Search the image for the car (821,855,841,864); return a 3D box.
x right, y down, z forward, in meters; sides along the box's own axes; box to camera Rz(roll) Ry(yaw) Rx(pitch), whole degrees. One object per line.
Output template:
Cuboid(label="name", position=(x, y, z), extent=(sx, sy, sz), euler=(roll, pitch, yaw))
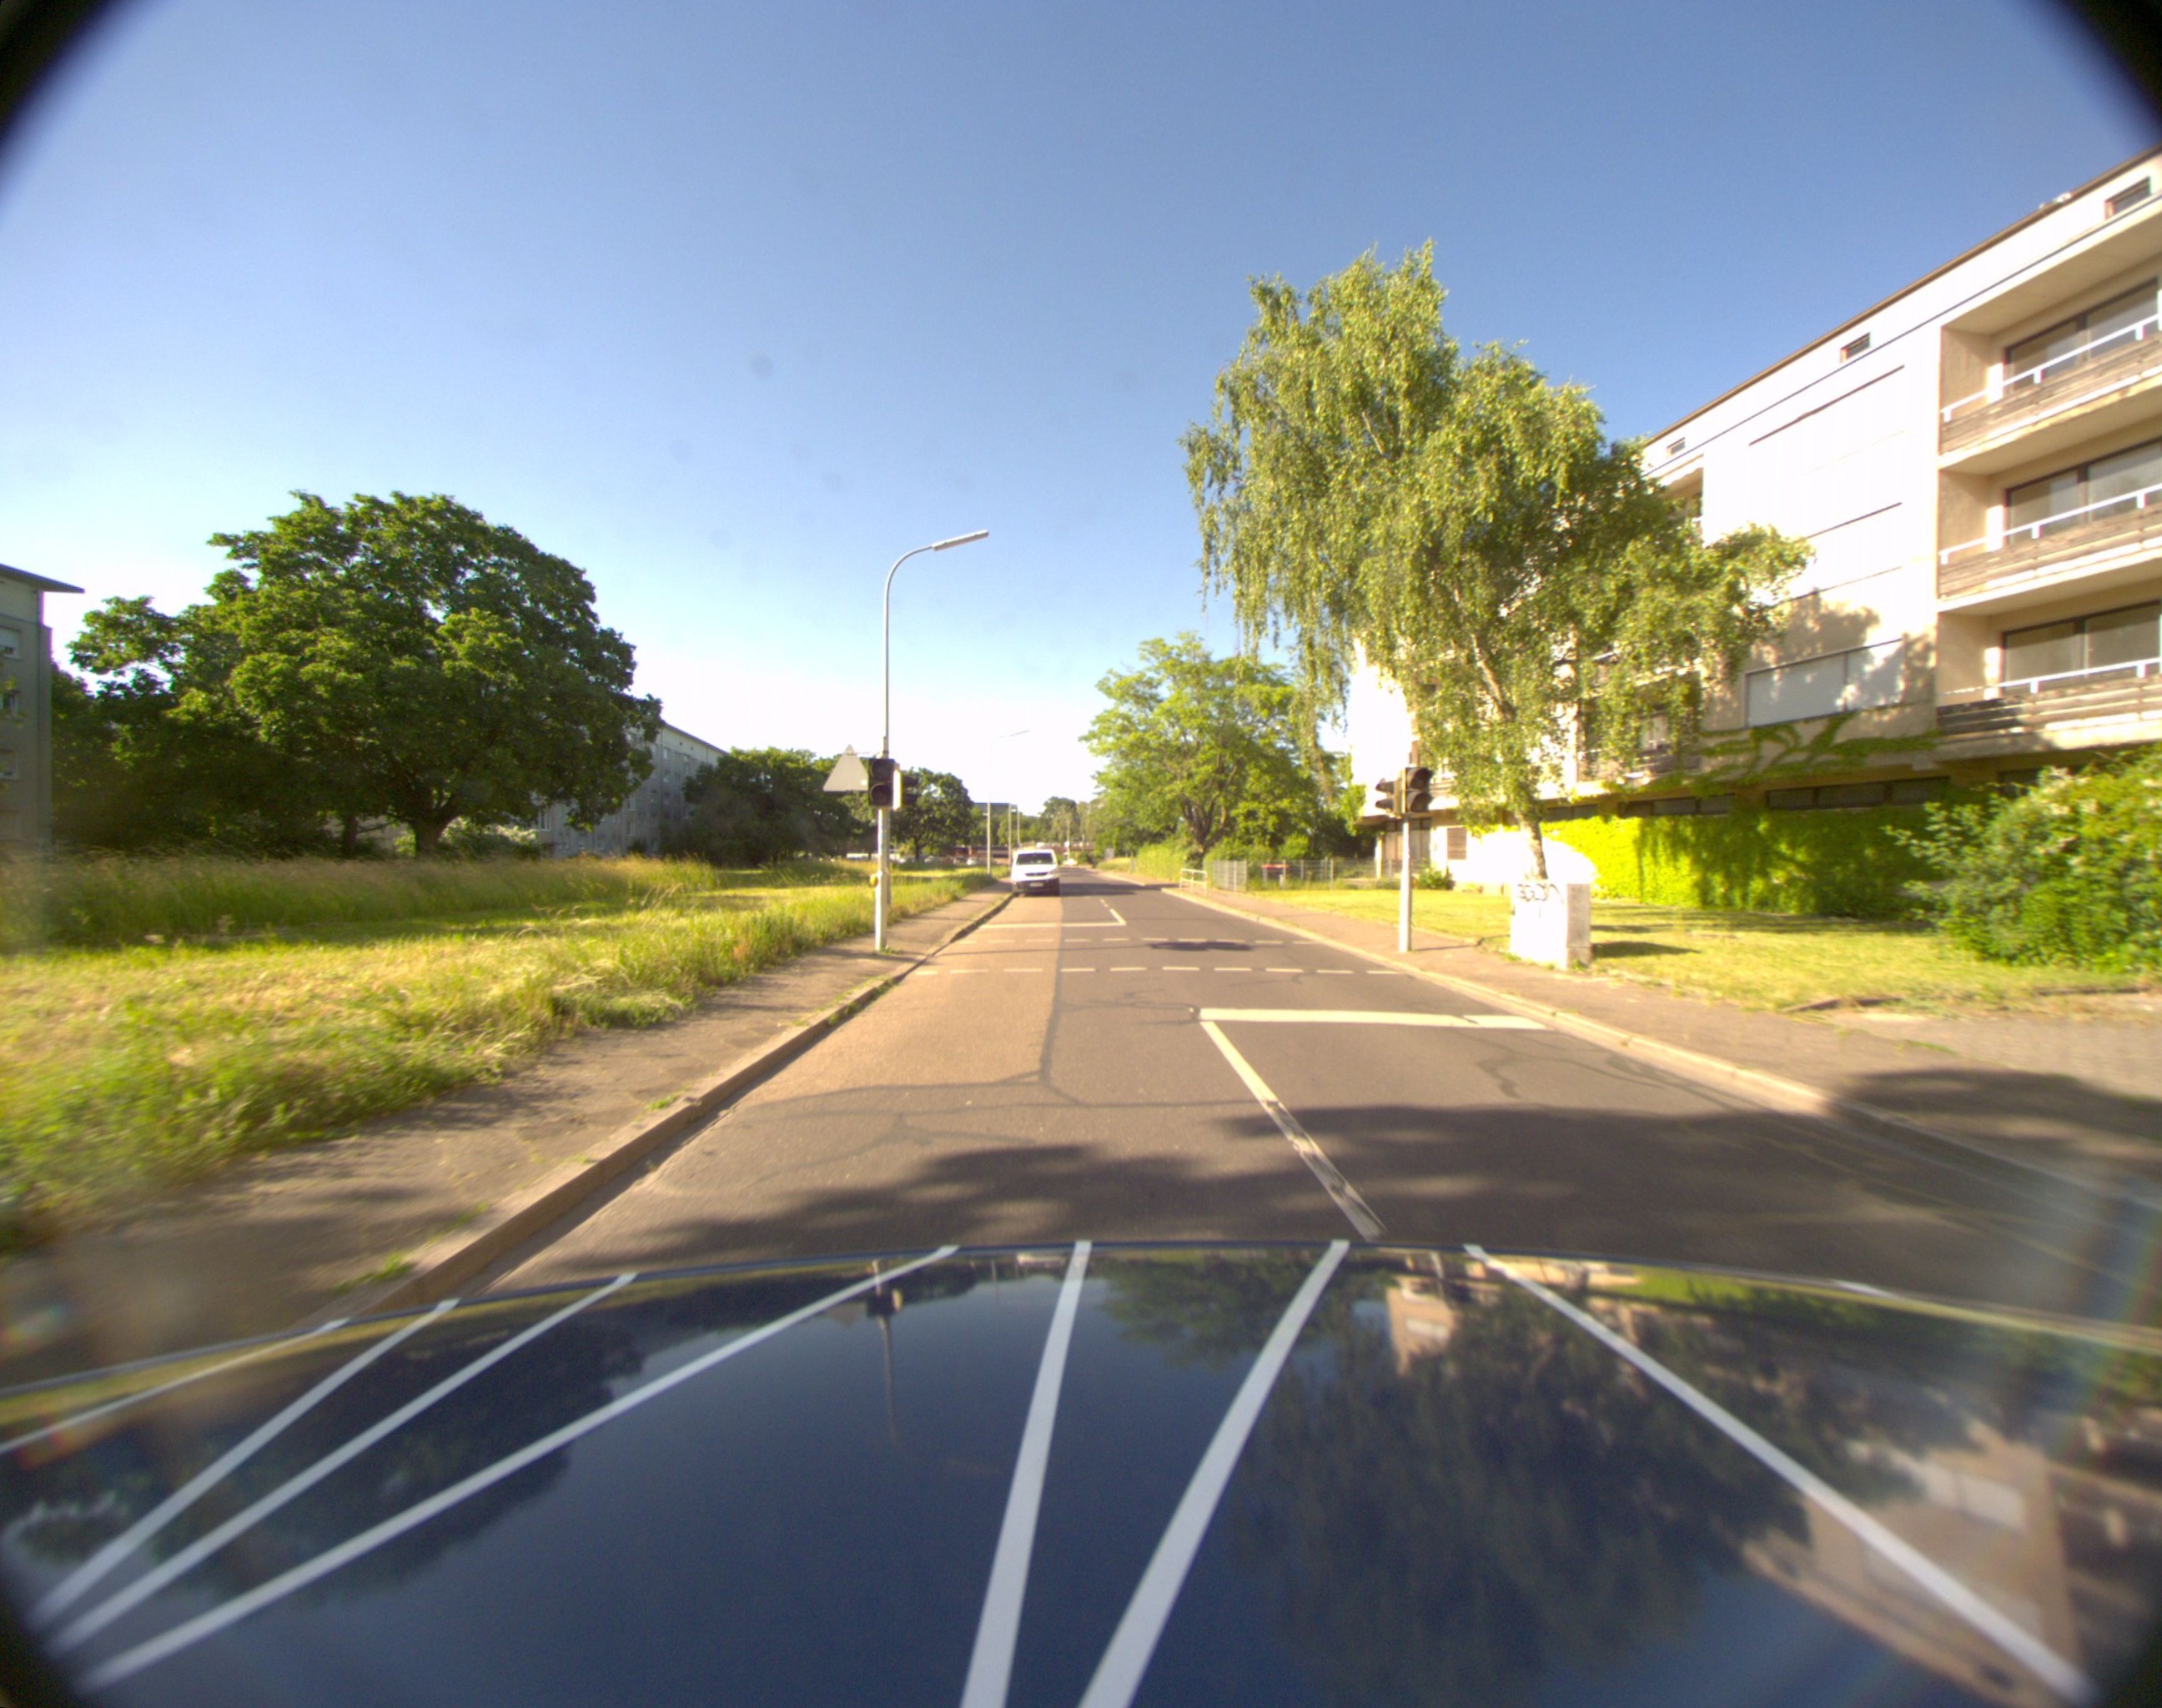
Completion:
Cuboid(label="car", position=(-47.708, 1.041, 145.119), extent=(1.954, 1.552, 4.004), euler=(1, 0, 11))

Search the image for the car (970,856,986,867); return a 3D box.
Cuboid(label="car", position=(-18.764, 1.363, 138.566), extent=(1.955, 1.849, 4.002), euler=(1, 0, 5))

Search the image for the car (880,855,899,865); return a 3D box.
Cuboid(label="car", position=(-35.947, 1.164, 142.375), extent=(1.954, 1.763, 4.003), euler=(1, 1, 11))

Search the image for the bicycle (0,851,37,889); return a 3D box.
Cuboid(label="bicycle", position=(-43.425, 0.644, 30.040), extent=(0.782, 1.516, 2.753), euler=(1, 0, -8))

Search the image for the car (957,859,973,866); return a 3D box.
Cuboid(label="car", position=(-21.143, 1.551, 138.791), extent=(1.779, 1.316, 4.003), euler=(1, 0, 7))

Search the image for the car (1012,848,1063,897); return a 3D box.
Cuboid(label="car", position=(-1.756, 0.730, 31.630), extent=(1.921, 1.860, 4.864), euler=(-1, 0, -2))

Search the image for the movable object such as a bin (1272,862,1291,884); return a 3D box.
Cuboid(label="movable object such as a bin", position=(9.106, 0.858, 34.534), extent=(0.623, 1.018, 0.710), euler=(1, 0, -6))

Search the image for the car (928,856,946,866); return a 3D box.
Cuboid(label="car", position=(-26.447, 1.312, 139.356), extent=(1.858, 1.763, 4.004), euler=(1, 0, 11))

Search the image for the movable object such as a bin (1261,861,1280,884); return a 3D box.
Cuboid(label="movable object such as a bin", position=(8.592, 0.846, 34.457), extent=(0.623, 1.018, 0.710), euler=(1, 0, -6))
